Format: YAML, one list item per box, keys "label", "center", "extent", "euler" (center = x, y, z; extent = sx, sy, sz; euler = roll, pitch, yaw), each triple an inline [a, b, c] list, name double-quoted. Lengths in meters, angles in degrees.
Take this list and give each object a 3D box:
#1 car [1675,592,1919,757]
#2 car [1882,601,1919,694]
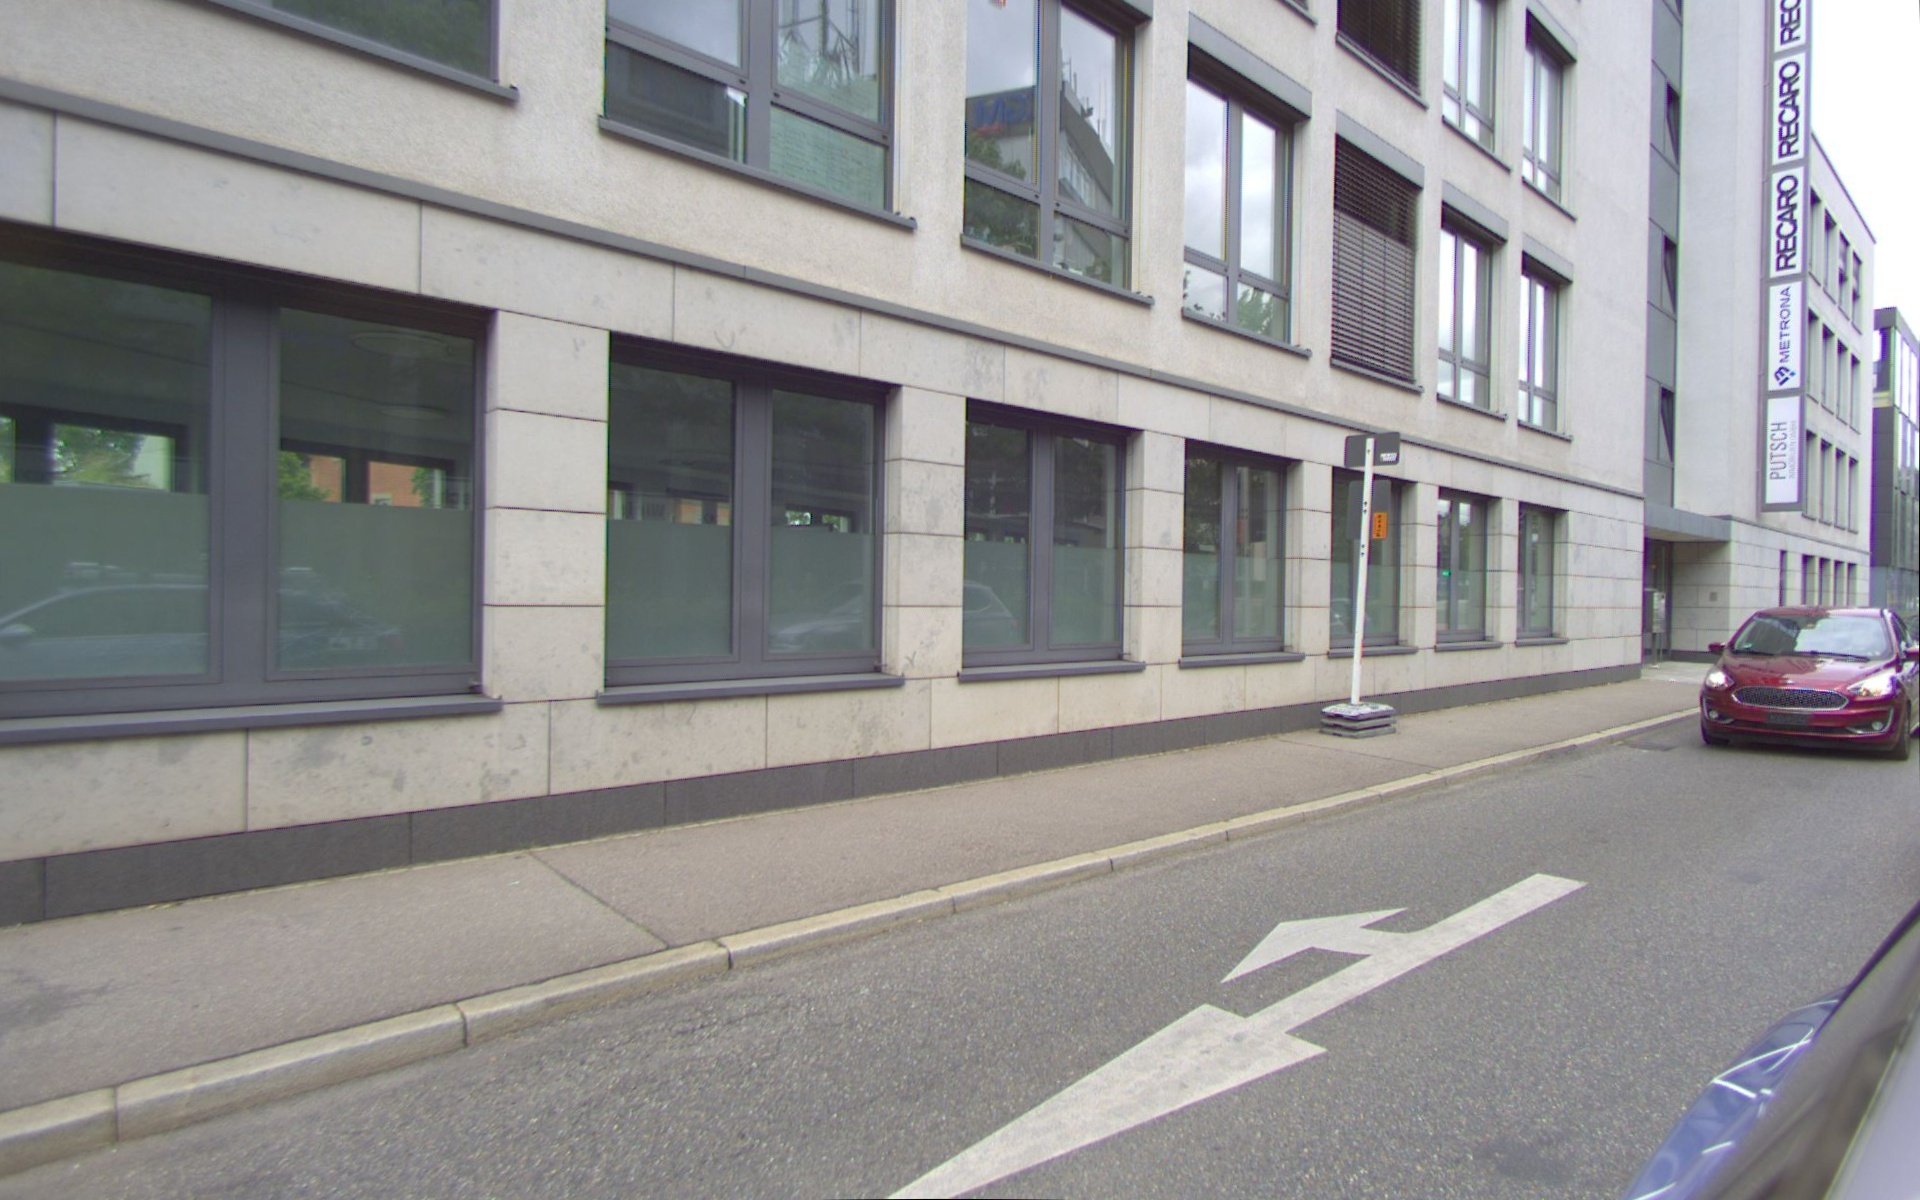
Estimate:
- label: "car"
  center: [9.703, 0.714, 11.316]
  extent: [3.930, 1.511, 1.888]
  euler: [0, -2, -41]
- label: "car"
  center: [17.265, 0.756, 17.229]
  extent: [4.331, 1.476, 1.823]
  euler: [0, -1, -41]
